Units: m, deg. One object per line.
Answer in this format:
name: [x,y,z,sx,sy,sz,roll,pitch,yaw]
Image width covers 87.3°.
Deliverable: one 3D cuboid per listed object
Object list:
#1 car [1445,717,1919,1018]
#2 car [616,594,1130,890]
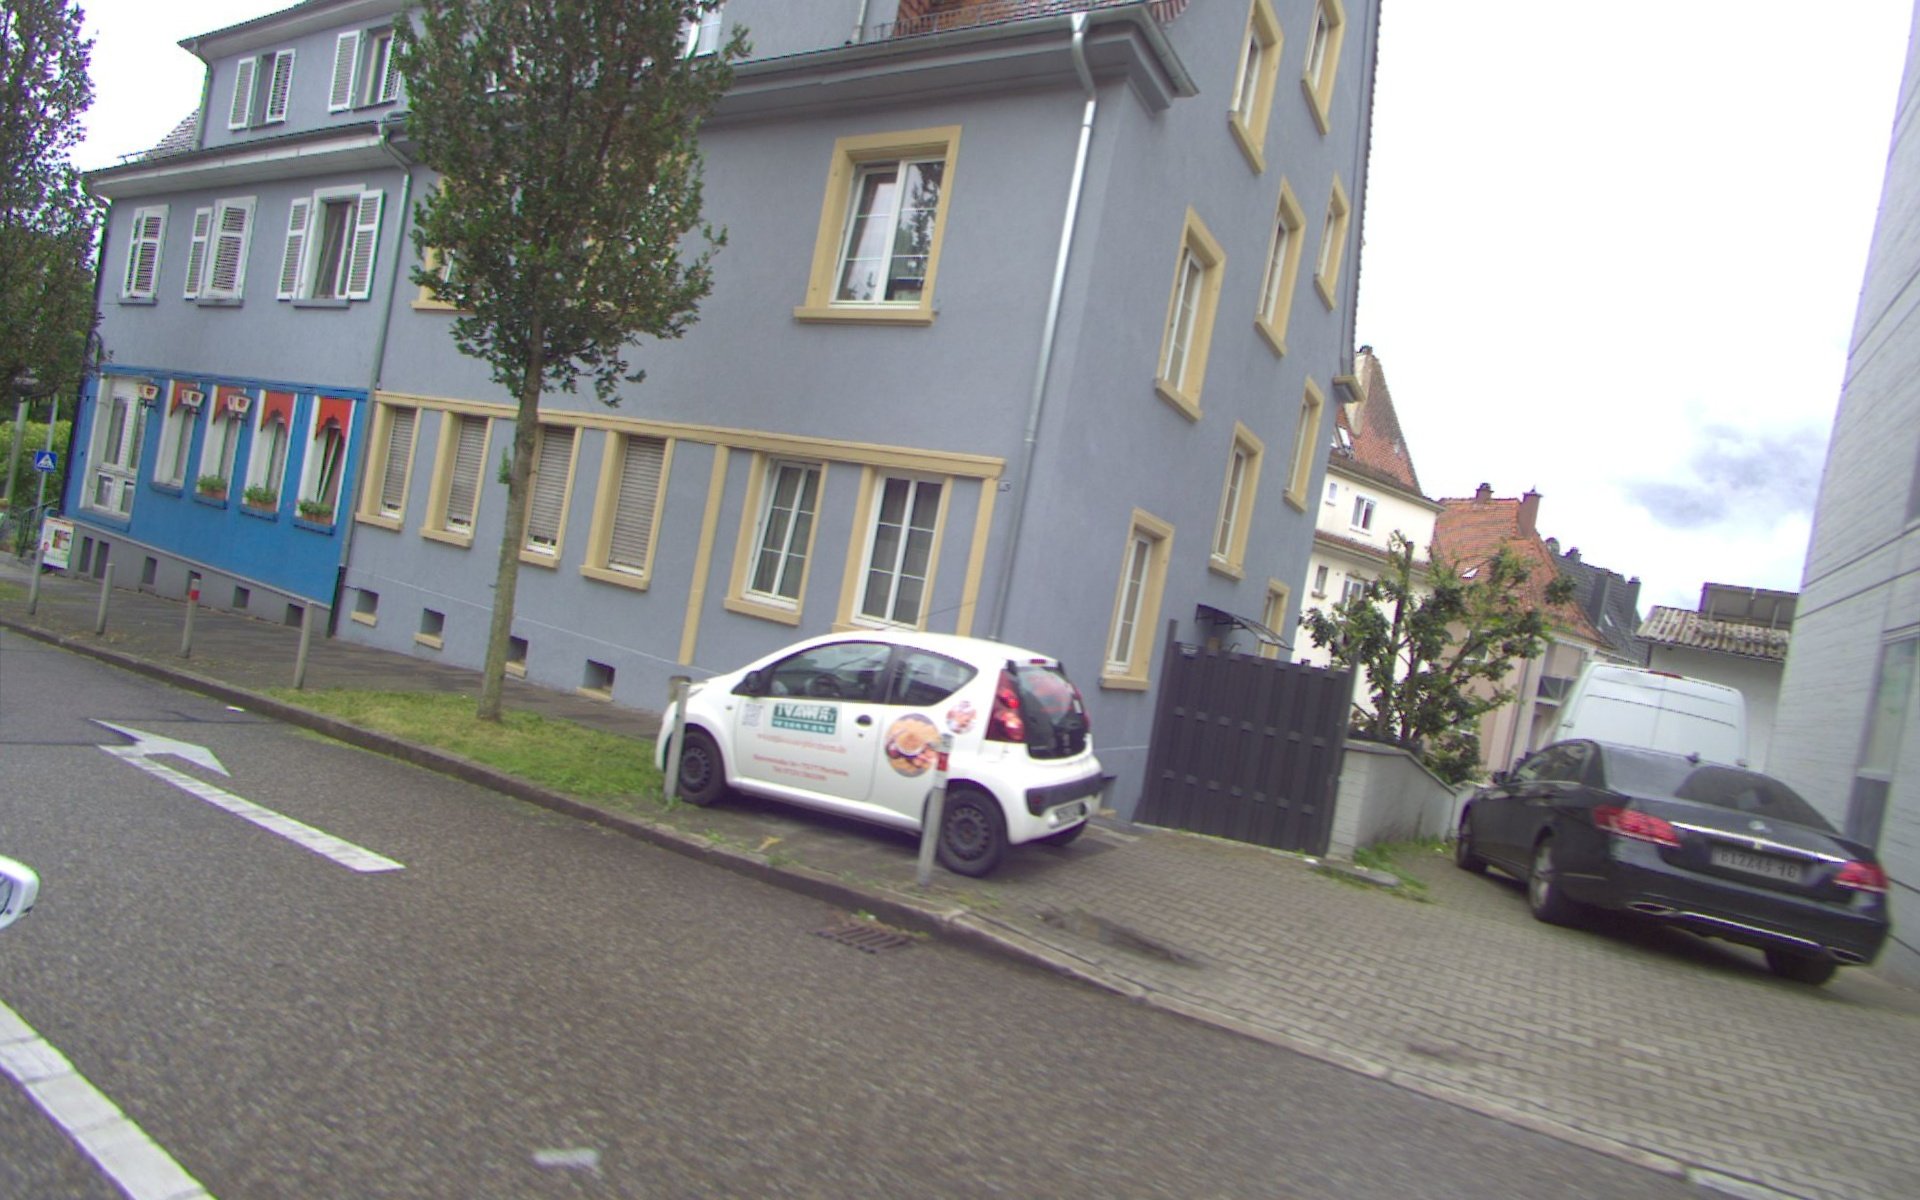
car: [5.523,1.873,8.376,1.775,1.422,4.375,7,-3,16]
car: [-0.675,0.910,7.546,3.396,1.429,1.590,7,0,28]
